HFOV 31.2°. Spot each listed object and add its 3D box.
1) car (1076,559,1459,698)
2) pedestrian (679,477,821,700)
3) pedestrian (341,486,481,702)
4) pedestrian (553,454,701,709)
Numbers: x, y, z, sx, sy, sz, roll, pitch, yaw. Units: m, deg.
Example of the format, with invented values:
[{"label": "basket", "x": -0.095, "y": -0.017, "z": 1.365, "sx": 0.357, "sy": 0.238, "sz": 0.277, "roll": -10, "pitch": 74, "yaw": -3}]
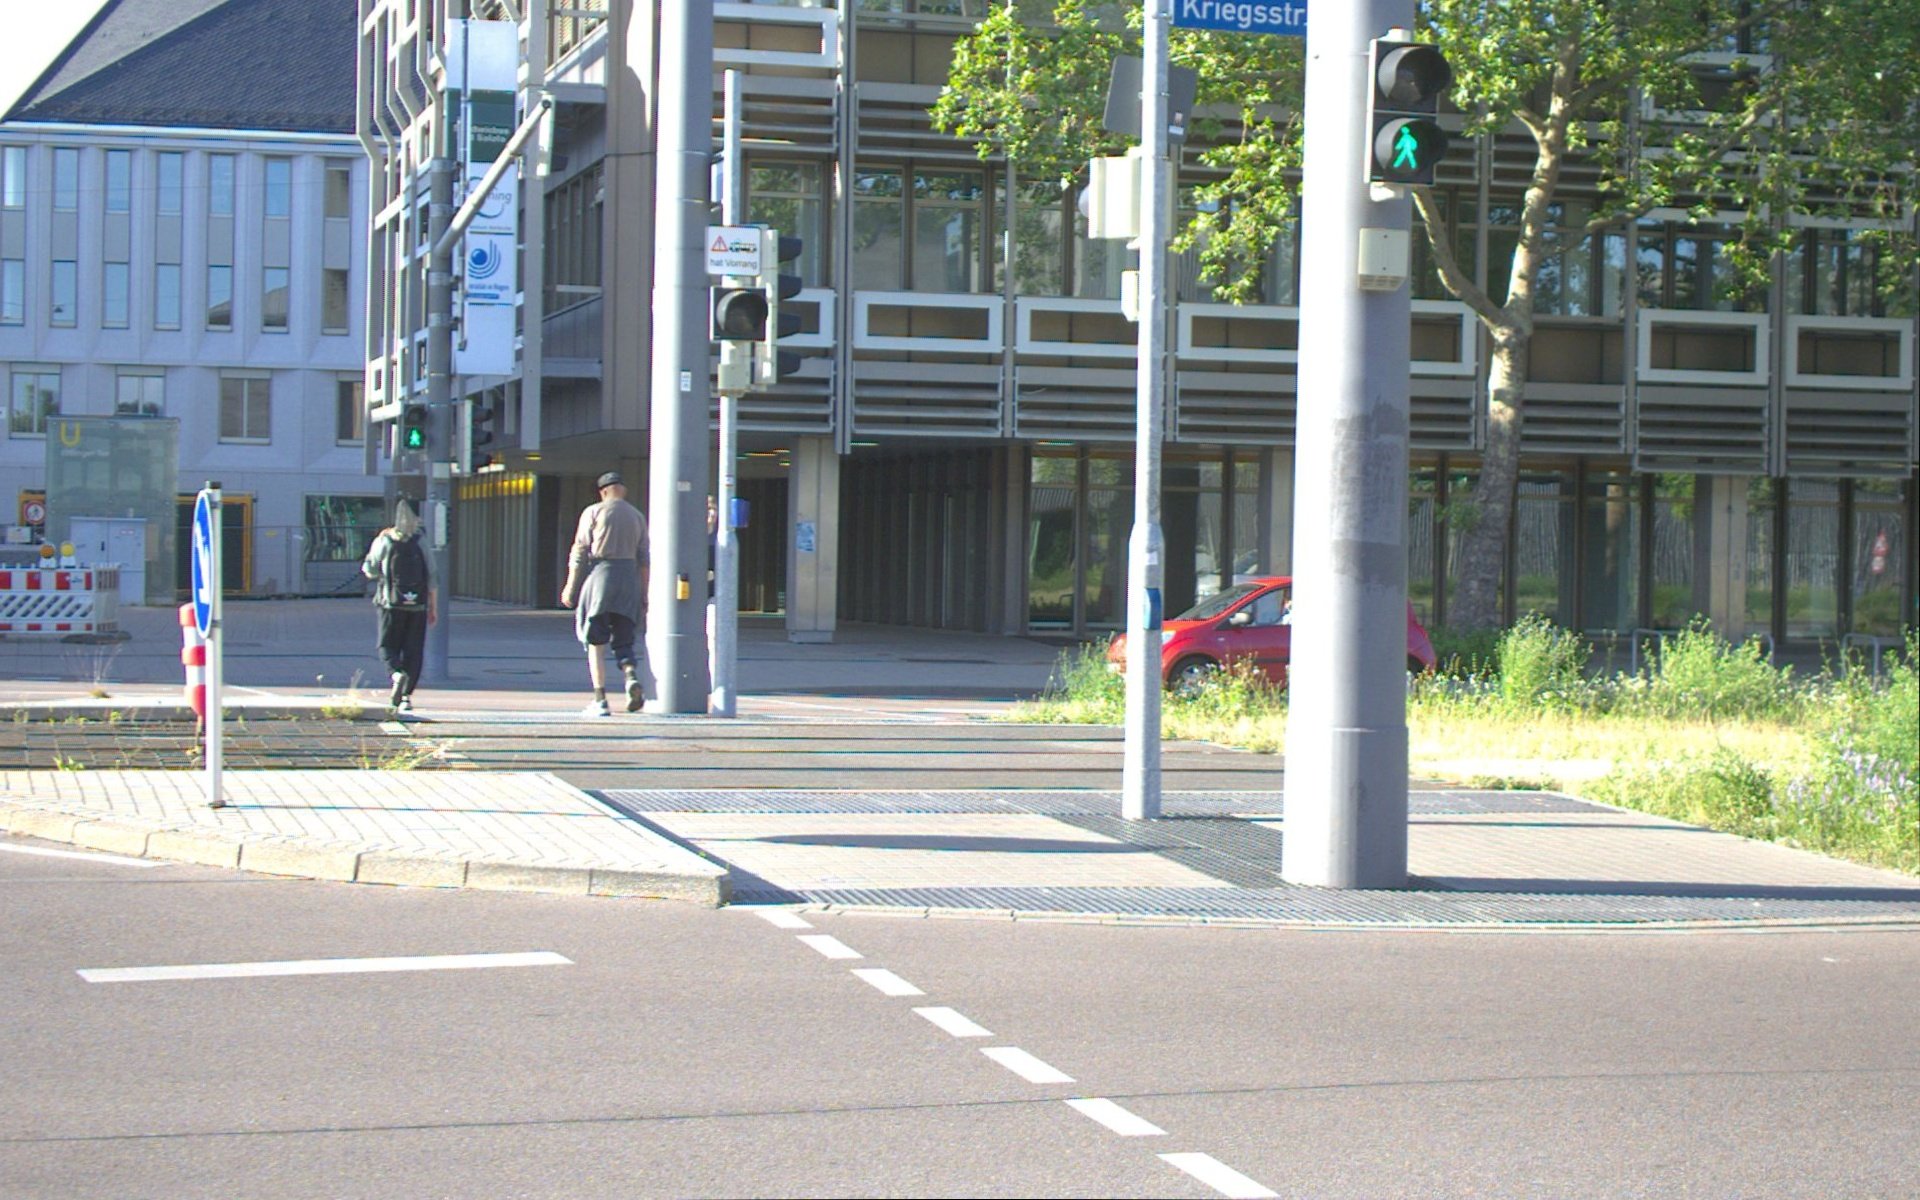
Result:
[{"label": "car", "x": 3.408, "y": 0.346, "z": 38.356, "sx": 3.866, "sy": 1.481, "sz": 1.846, "roll": 1, "pitch": -2, "yaw": -14}, {"label": "pedestrian", "x": -1.840, "y": -0.112, "z": 30.294, "sx": 1.012, "sy": 1.904, "sz": 1.050, "roll": 2, "pitch": 1, "yaw": 8}, {"label": "pedestrian", "x": -4.082, "y": -0.055, "z": 25.500, "sx": 0.895, "sy": 1.544, "sz": 0.924, "roll": 1, "pitch": 3, "yaw": -16}, {"label": "pedestrian", "x": -2.327, "y": -0.135, "z": 23.933, "sx": 0.855, "sy": 1.738, "sz": 0.739, "roll": 1, "pitch": 2, "yaw": -17}]
